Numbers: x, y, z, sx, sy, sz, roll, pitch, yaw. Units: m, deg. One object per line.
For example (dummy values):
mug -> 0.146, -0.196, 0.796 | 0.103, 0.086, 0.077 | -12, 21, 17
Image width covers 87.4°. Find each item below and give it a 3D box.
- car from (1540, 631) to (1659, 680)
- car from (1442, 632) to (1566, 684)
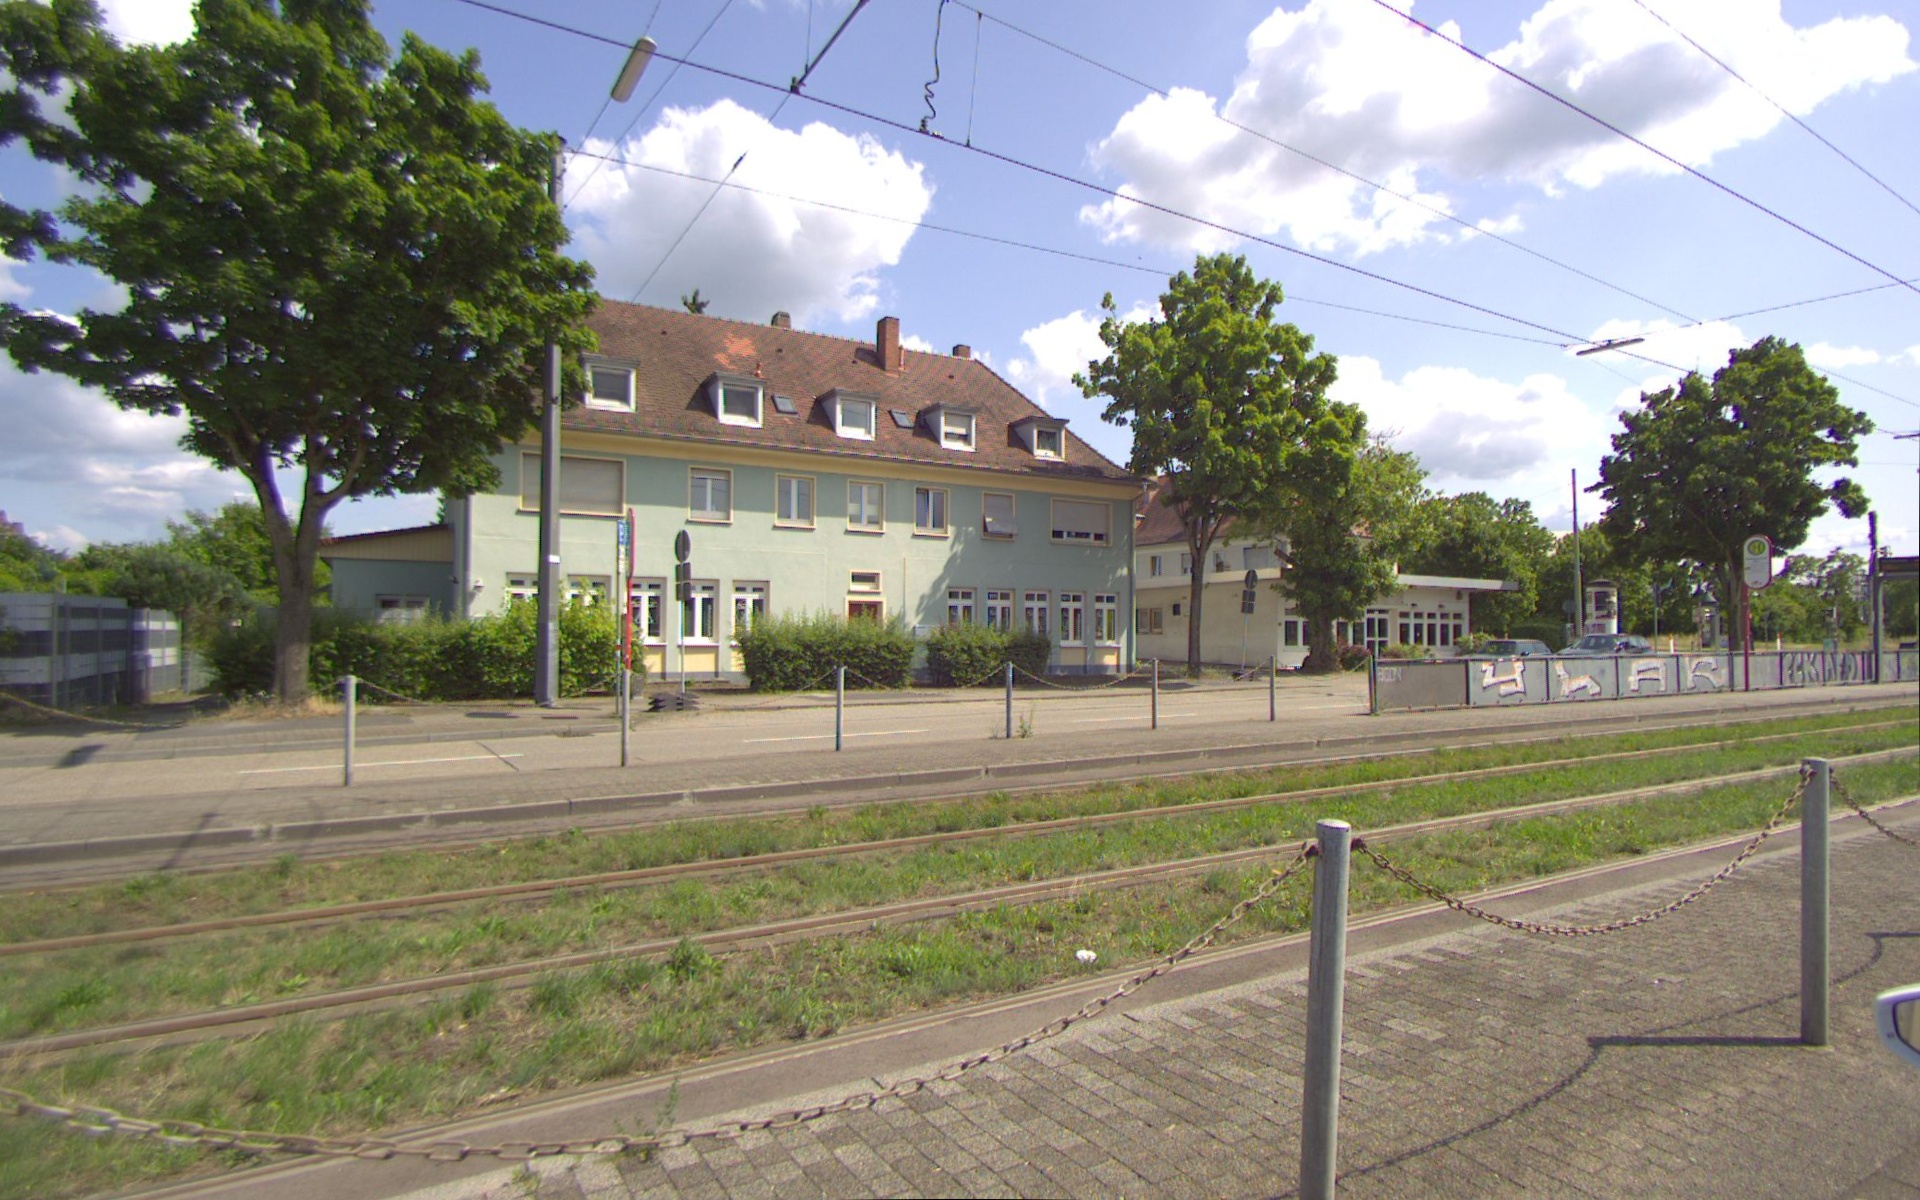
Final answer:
car -> 23.069, 1.940, 36.167 | 4.708, 1.635, 2.046 | 1, -2, -36
car -> 17.834, 1.848, 32.910 | 3.882, 1.605, 1.779 | 1, -1, -29
